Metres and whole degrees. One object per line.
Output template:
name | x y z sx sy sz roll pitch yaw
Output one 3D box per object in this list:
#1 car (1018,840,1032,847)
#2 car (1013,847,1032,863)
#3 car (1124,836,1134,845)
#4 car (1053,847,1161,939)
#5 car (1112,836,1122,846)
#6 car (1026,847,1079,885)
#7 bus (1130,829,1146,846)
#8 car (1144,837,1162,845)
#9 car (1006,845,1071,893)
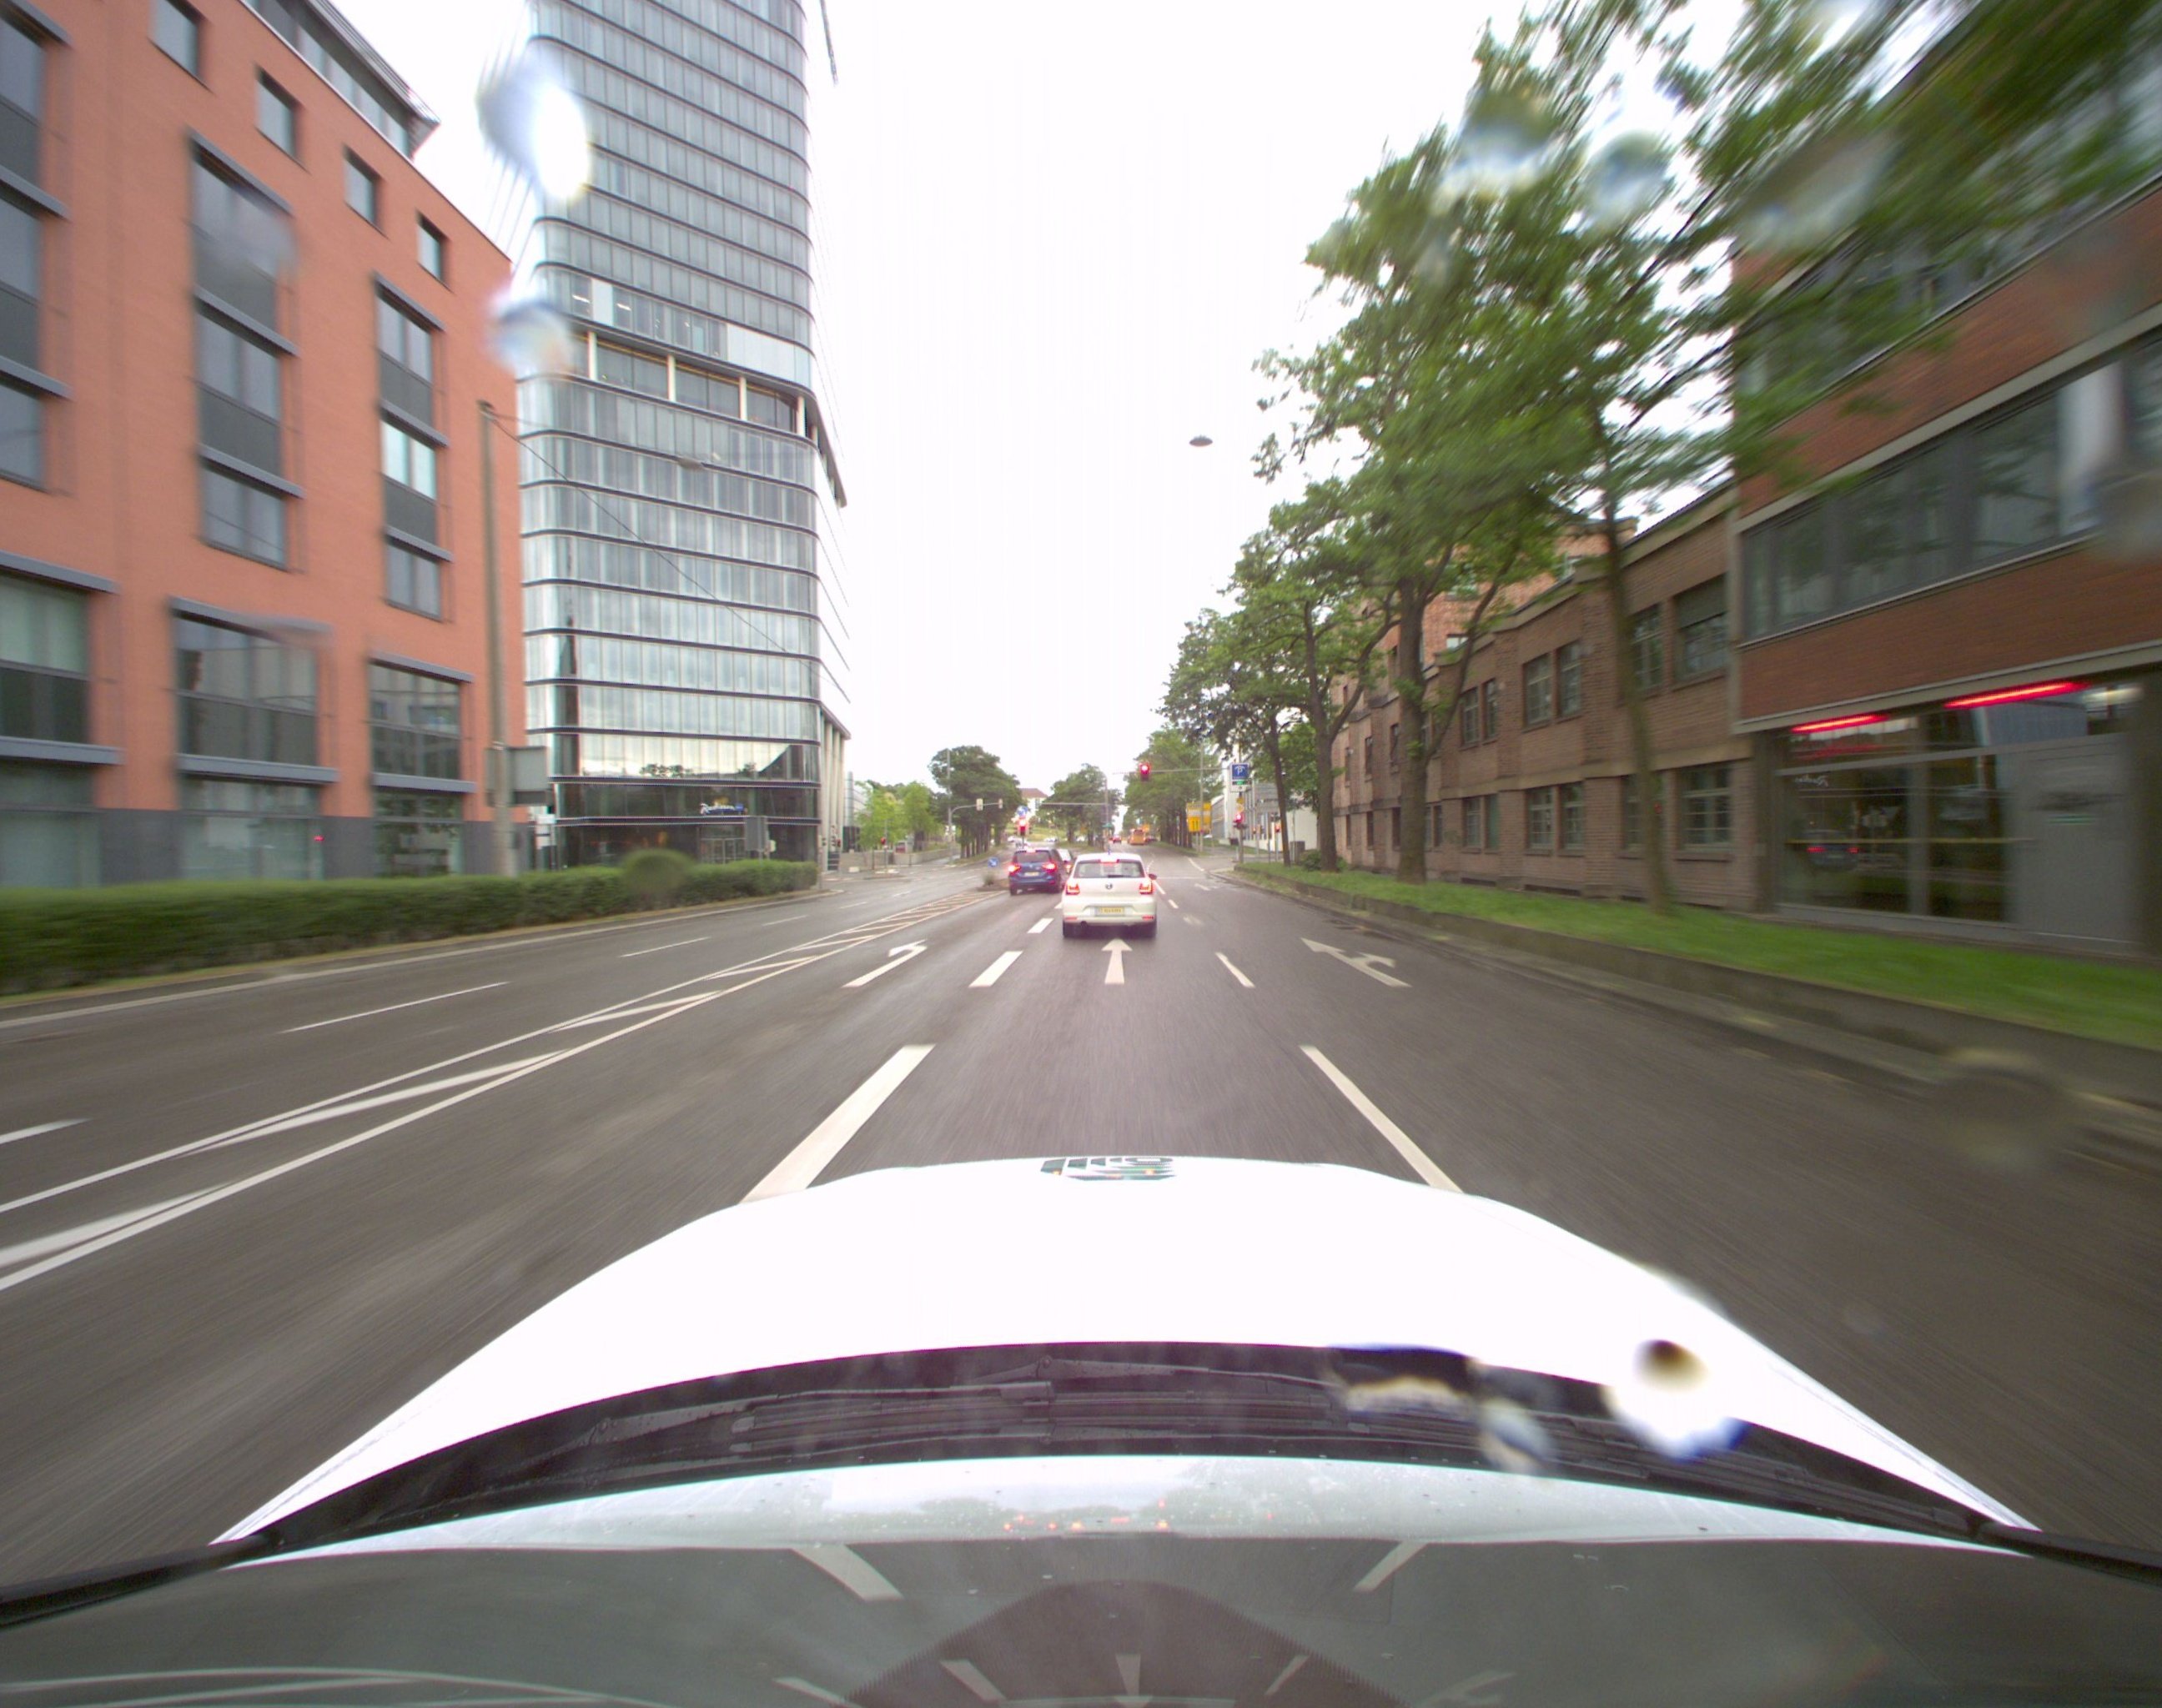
car | -11.645 -2.117 168.269 1.819 1.411 4.628 -3 1 -18
car | -6.062 0.098 84.942 1.745 1.520 3.815 -3 1 -1
car | 10.450 -2.927 177.119 1.986 2.013 4.002 -2 0 2
car | 0.531 0.625 15.548 1.787 1.502 4.003 -1 1 3
car | 7.791 -2.837 177.173 1.986 2.013 4.002 -2 0 2
car | -1.204 0.494 36.129 1.838 1.510 4.053 -2 0 4
bus | 11.171 -3.239 160.935 2.817 3.266 10.005 -1 2 2
car | 15.634 -2.815 176.593 3.849 1.515 1.679 -2 1 -44
car | -1.471 0.498 30.023 1.764 1.596 4.203 -2 0 5
